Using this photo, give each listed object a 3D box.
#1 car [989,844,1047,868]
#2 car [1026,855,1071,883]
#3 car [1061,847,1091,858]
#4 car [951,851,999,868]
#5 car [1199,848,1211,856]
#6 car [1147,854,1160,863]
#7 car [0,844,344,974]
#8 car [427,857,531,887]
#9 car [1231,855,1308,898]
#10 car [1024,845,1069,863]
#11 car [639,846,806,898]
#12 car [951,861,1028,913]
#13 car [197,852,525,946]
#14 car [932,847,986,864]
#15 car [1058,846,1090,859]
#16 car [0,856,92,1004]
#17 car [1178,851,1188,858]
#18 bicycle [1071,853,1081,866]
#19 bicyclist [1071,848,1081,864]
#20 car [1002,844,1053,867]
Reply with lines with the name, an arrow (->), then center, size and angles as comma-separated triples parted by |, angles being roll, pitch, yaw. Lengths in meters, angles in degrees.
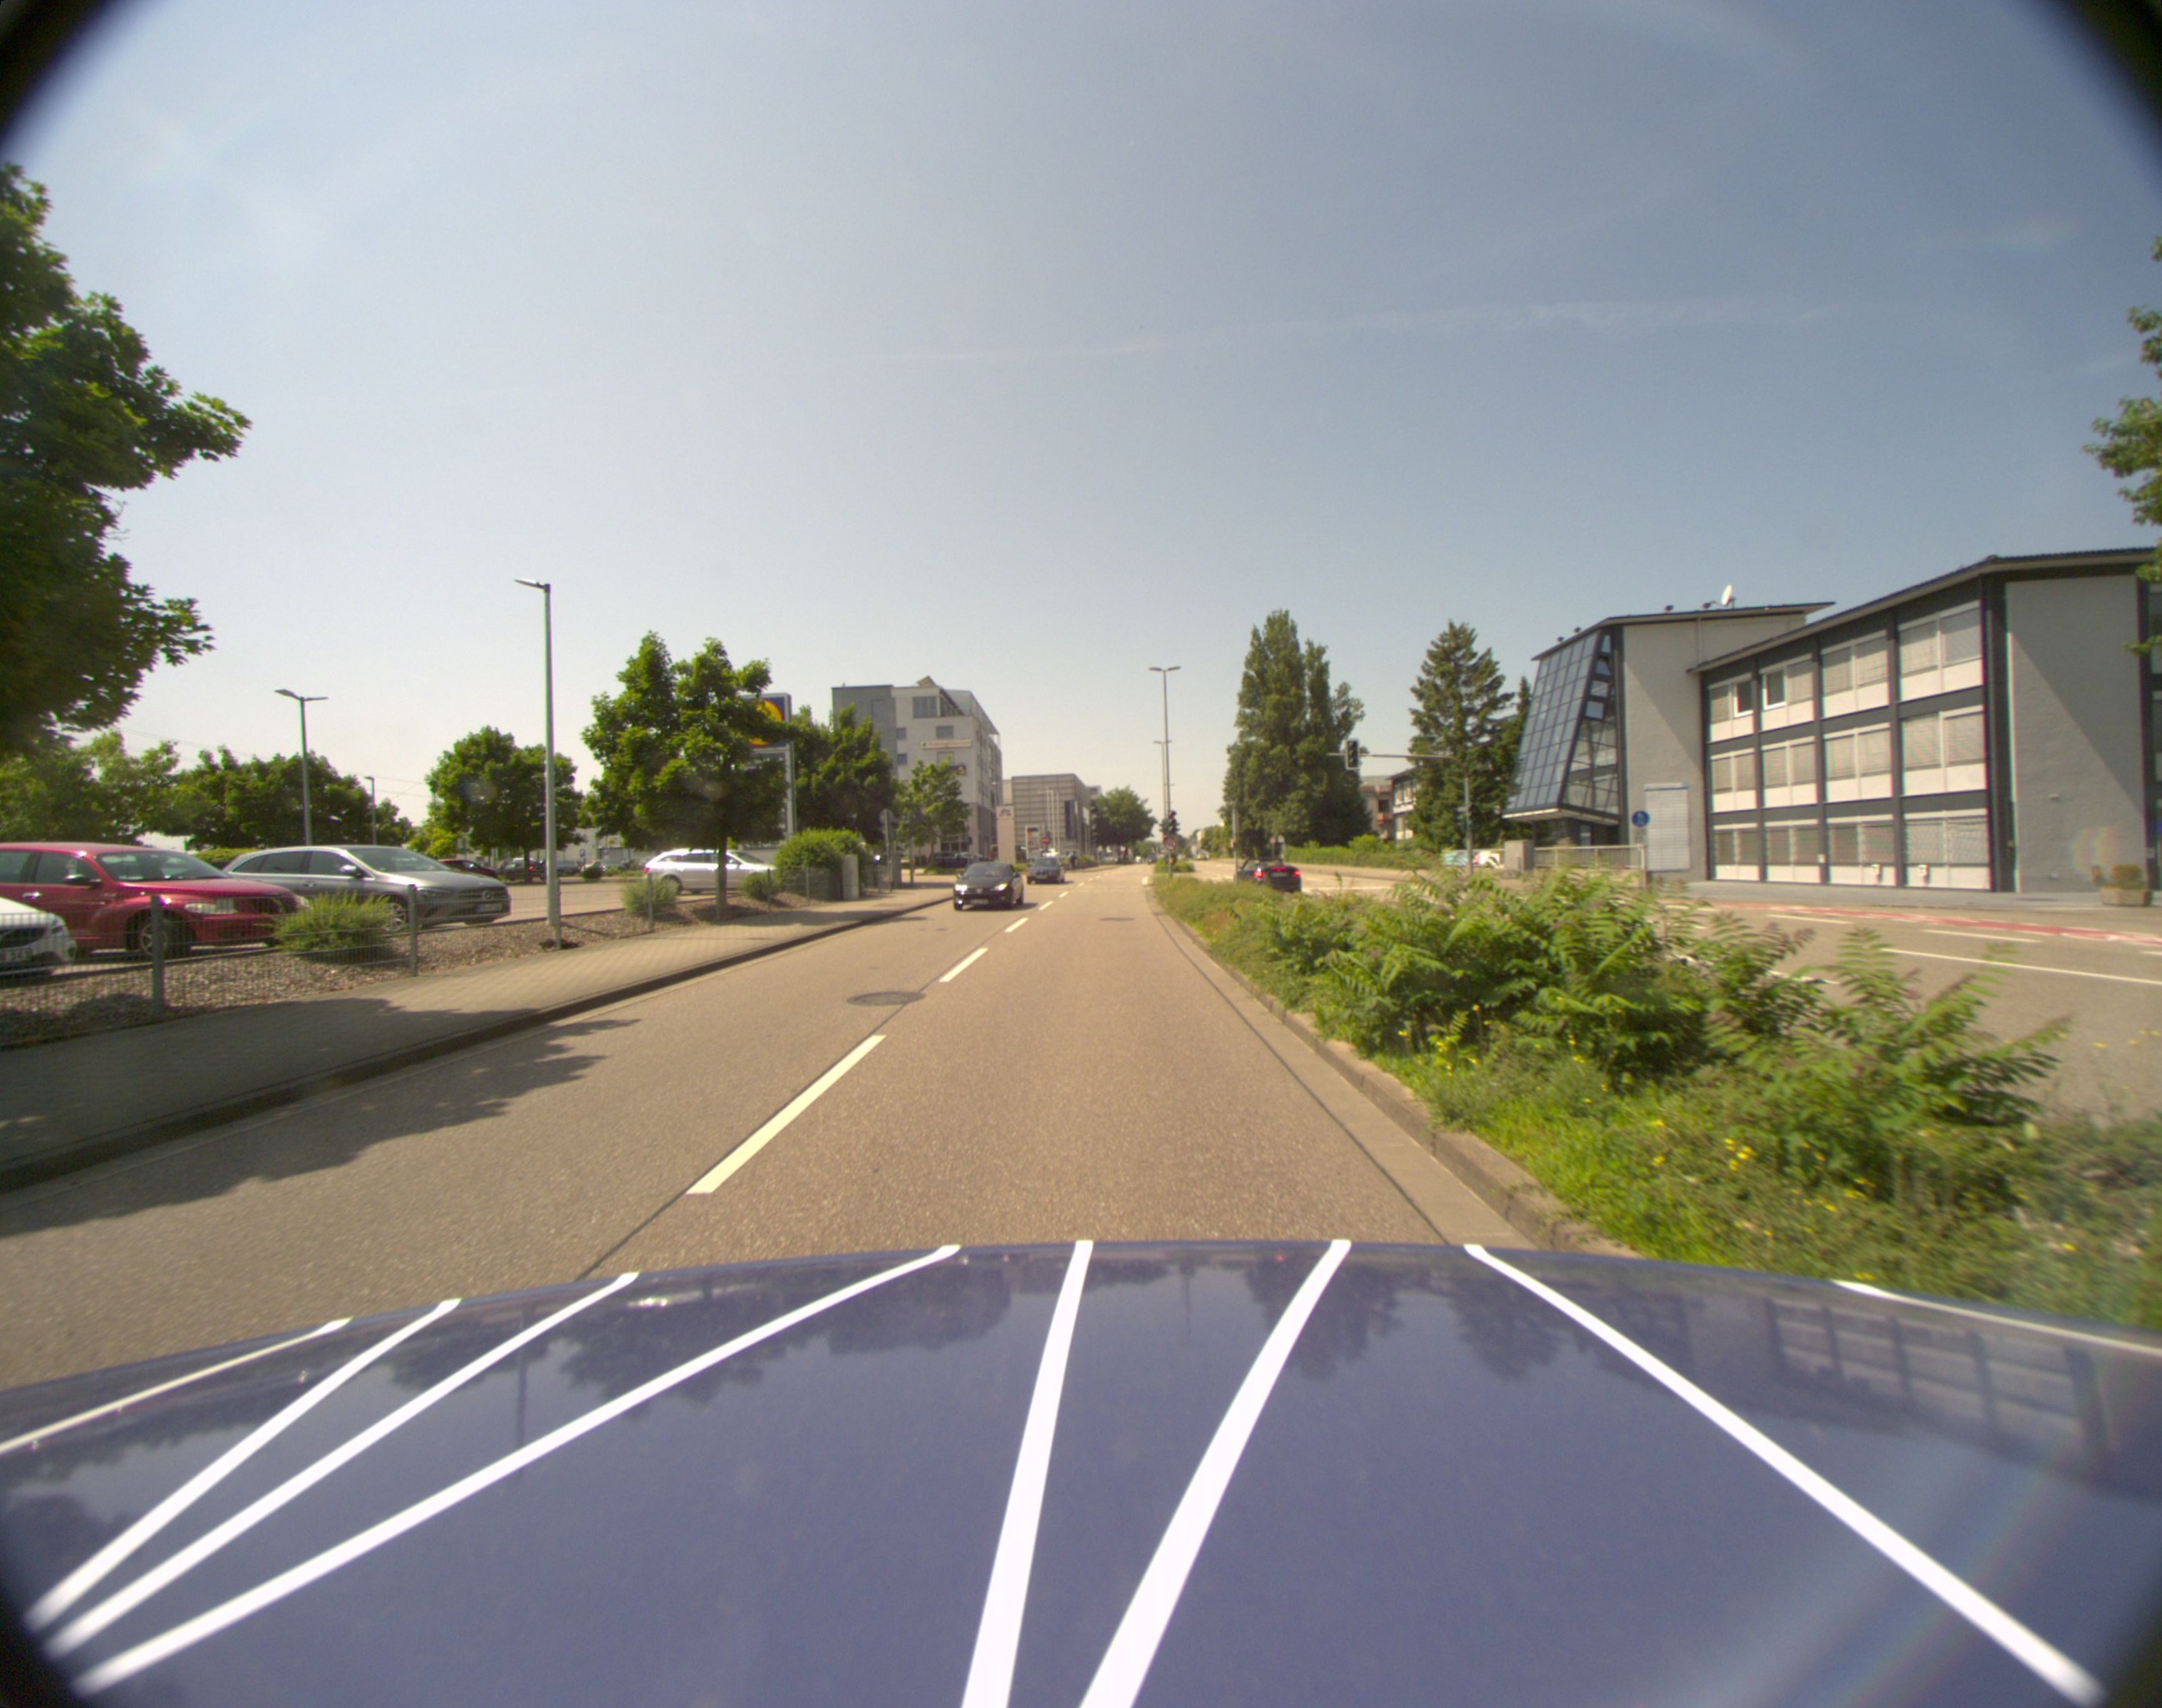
car -> -5.607, 0.164, 68.195 | 4.704, 1.787, 2.184 | -5, 0, 6
car -> -1.654, 0.755, 39.653 | 1.710, 1.316, 3.957 | 0, 1, 7
car -> -0.696, -0.195, 107.887 | 4.135, 1.477, 1.759 | -1, 1, 6
car -> -9.129, 0.476, 65.568 | 3.881, 1.331, 1.756 | -1, 1, 1
car -> 24.956, -0.453, 152.878 | 1.898, 1.551, 4.287 | -1, 1, 3
car -> 11.587, 0.694, 120.903 | 1.866, 1.390, 4.002 | -1, 0, 8
car -> -12.641, 0.694, 10.270 | 3.598, 1.528, 1.723 | -2, 0, -1
car -> -31.709, 0.918, 40.180 | 1.998, 1.378, 4.142 | -3, 0, 3
car -> 6.455, 0.739, 26.475 | 1.733, 1.316, 4.149 | -1, 1, 1
car -> -3.602, -0.036, 79.337 | 4.474, 1.600, 2.097 | -3, 1, 3
car -> -11.537, 0.569, 24.643 | 4.587, 1.496, 1.698 | -2, 0, 1
car -> -2.632, 0.930, 22.630 | 1.640, 1.349, 3.500 | 0, 0, 4
car -> -12.345, 0.740, 13.183 | 4.179, 1.413, 1.698 | -2, 0, 4
car -> -9.770, 0.106, 61.234 | 3.997, 1.331, 1.863 | -1, 1, 1
car -> -0.917, -0.198, 100.936 | 4.135, 1.477, 1.759 | -3, 1, 6
car -> -12.390, 0.800, 7.135 | 4.006, 1.413, 1.698 | -2, 0, 2
car -> 21.680, 0.174, 162.119 | 1.763, 1.410, 4.092 | -1, 1, 3
bicycle -> -0.430, 0.519, 68.789 | 0.759, 1.126, 1.907 | -3, 1, 2
bicyclist -> -0.449, 0.178, 68.902 | 0.776, 1.455, 1.090 | -3, 1, 1
car -> -5.027, 0.132, 71.437 | 4.420, 1.690, 2.000 | -5, 1, 5
